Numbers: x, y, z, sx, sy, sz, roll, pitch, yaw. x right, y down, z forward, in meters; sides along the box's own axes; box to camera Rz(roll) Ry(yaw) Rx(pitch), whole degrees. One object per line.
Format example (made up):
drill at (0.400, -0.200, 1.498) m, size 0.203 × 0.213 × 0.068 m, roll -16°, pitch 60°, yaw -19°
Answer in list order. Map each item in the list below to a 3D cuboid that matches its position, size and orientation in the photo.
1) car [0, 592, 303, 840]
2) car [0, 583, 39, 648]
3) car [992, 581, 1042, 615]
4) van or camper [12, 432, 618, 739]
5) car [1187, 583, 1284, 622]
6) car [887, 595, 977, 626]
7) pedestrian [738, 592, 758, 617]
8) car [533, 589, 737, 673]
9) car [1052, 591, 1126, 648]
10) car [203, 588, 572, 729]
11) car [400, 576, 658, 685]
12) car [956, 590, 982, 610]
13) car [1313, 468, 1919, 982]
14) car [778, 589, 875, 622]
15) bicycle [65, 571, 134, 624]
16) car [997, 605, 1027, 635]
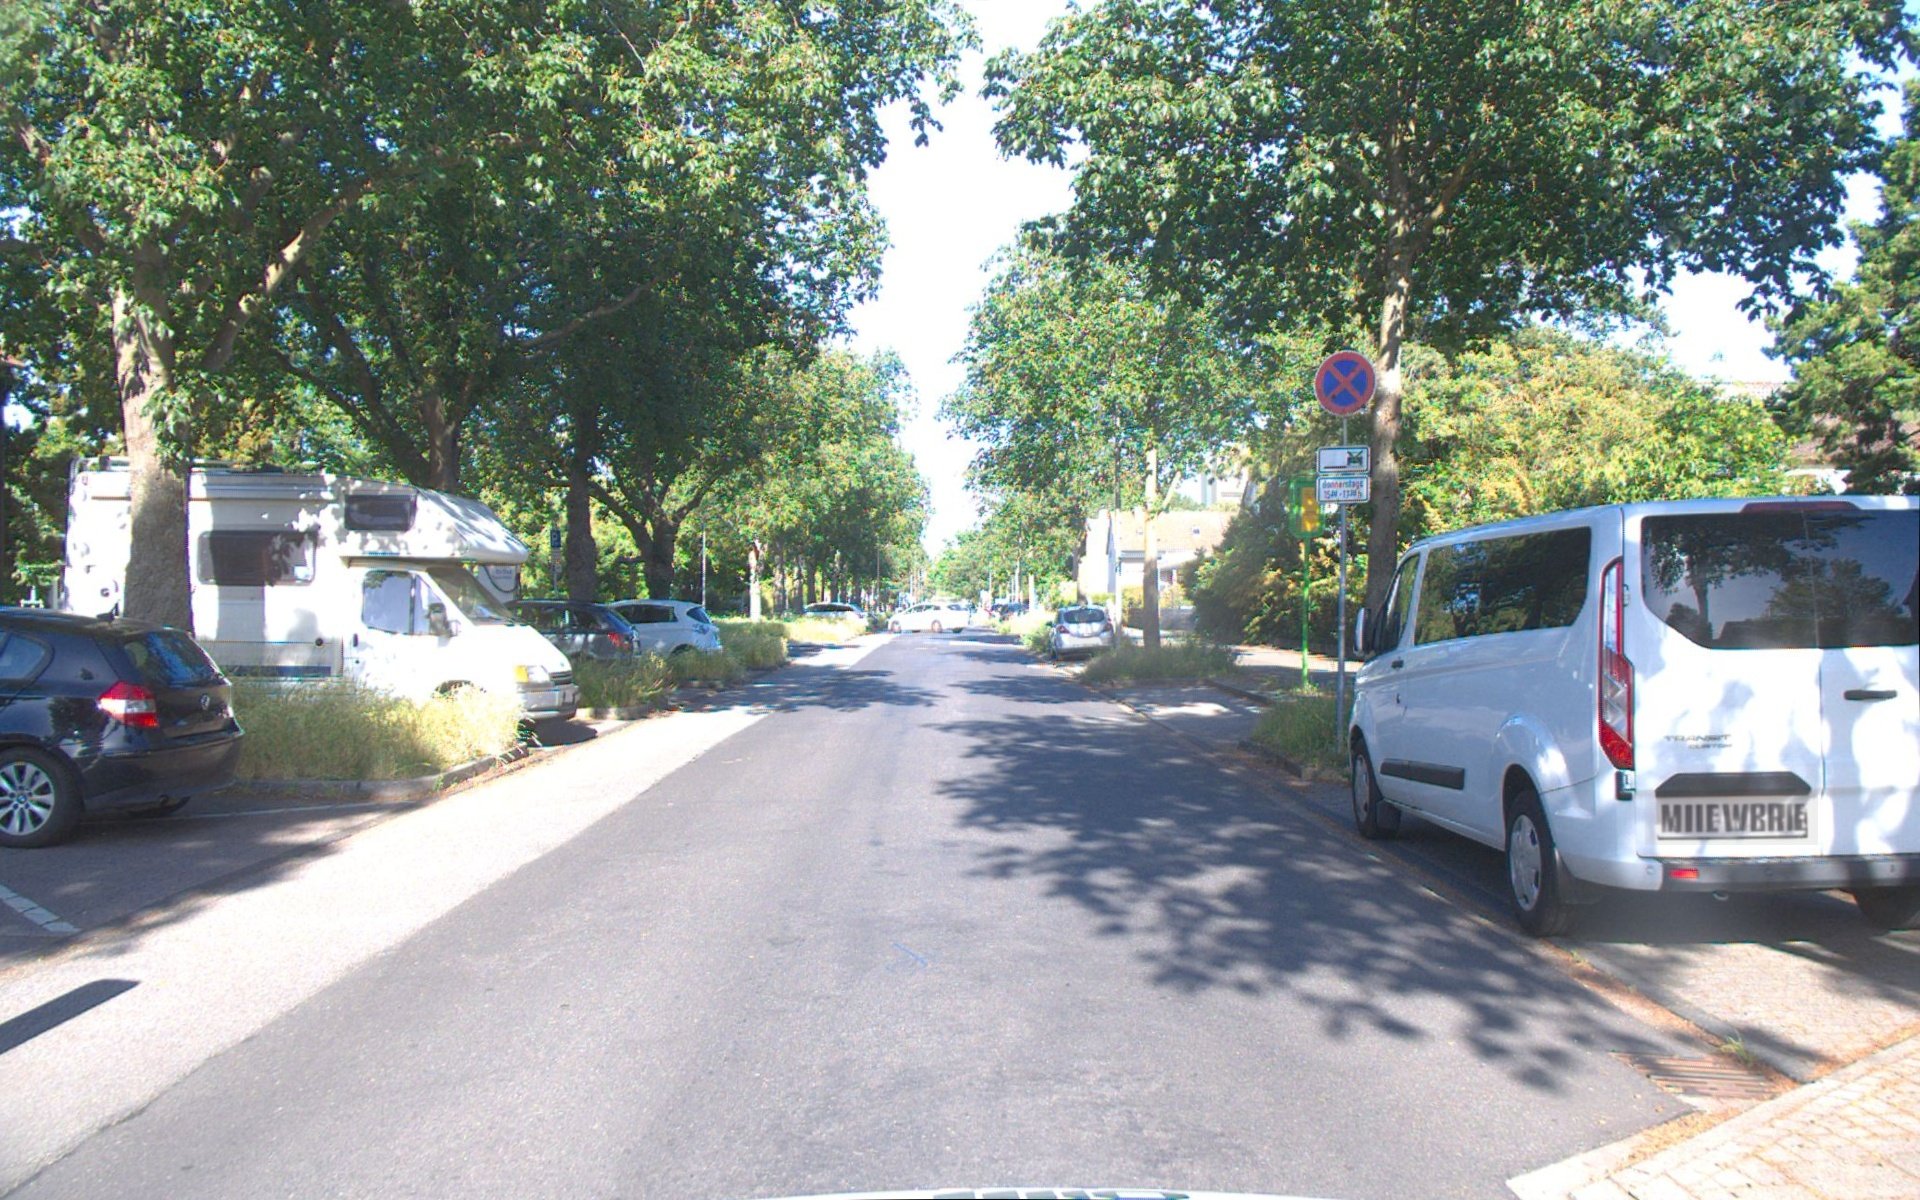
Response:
car at (-6.756, 0.686, 11.191) m, size 3.904 × 1.475 × 1.640 m, roll 2°, pitch 0°, yaw 3°
car at (-29.241, 0.434, 47.999) m, size 3.906 × 1.852 × 2.000 m, roll 0°, pitch 0°, yaw -1°
car at (2.957, -0.099, 87.102) m, size 1.955 × 1.650 × 4.375 m, roll 3°, pitch 0°, yaw -6°
van or camper at (-6.851, -0.149, 18.012) m, size 5.657 × 2.854 × 2.000 m, roll 3°, pitch -1°, yaw 1°
car at (12.142, 0.112, 72.959) m, size 3.911 × 1.668 × 1.774 m, roll 0°, pitch 0°, yaw -7°
car at (-1.389, 0.505, 82.179) m, size 4.141 × 1.480 × 1.992 m, roll 0°, pitch 0°, yaw 37°
pedestrian at (-15.964, 0.332, 124.627) m, size 1.205 × 1.859 × 1.543 m, roll 2°, pitch -1°, yaw -17°
car at (-6.757, 0.625, 34.744) m, size 3.906 × 1.690 × 1.966 m, roll 0°, pitch 0°, yaw -2°
car at (3.710, 0.552, 47.043) m, size 1.951 × 1.537 × 4.003 m, roll -1°, pitch -1°, yaw 6°
car at (-7.105, 0.705, 20.879) m, size 3.907 × 1.484 × 1.999 m, roll 3°, pitch 0°, yaw -2°
car at (-7.398, 0.511, 28.714) m, size 3.907 × 1.616 × 1.999 m, roll 3°, pitch 0°, yaw -2°
car at (0.756, 0.029, 138.451) m, size 1.954 × 1.534 × 3.656 m, roll 3°, pitch 0°, yaw -3°
car at (3.648, 0.544, 9.404) m, size 1.953 × 2.049 × 5.194 m, roll 3°, pitch 0°, yaw -2°
car at (-6.512, 0.272, 81.015) m, size 4.575 × 1.530 × 2.000 m, roll 0°, pitch 0°, yaw 1°
bicycle at (-20.414, -0.083, 39.319) m, size 0.692 × 1.197 × 4.038 m, roll 0°, pitch 1°, yaw -16°
car at (3.095, 1.181, 99.187) m, size 1.577 × 1.650 × 4.381 m, roll 3°, pitch 0°, yaw 0°
